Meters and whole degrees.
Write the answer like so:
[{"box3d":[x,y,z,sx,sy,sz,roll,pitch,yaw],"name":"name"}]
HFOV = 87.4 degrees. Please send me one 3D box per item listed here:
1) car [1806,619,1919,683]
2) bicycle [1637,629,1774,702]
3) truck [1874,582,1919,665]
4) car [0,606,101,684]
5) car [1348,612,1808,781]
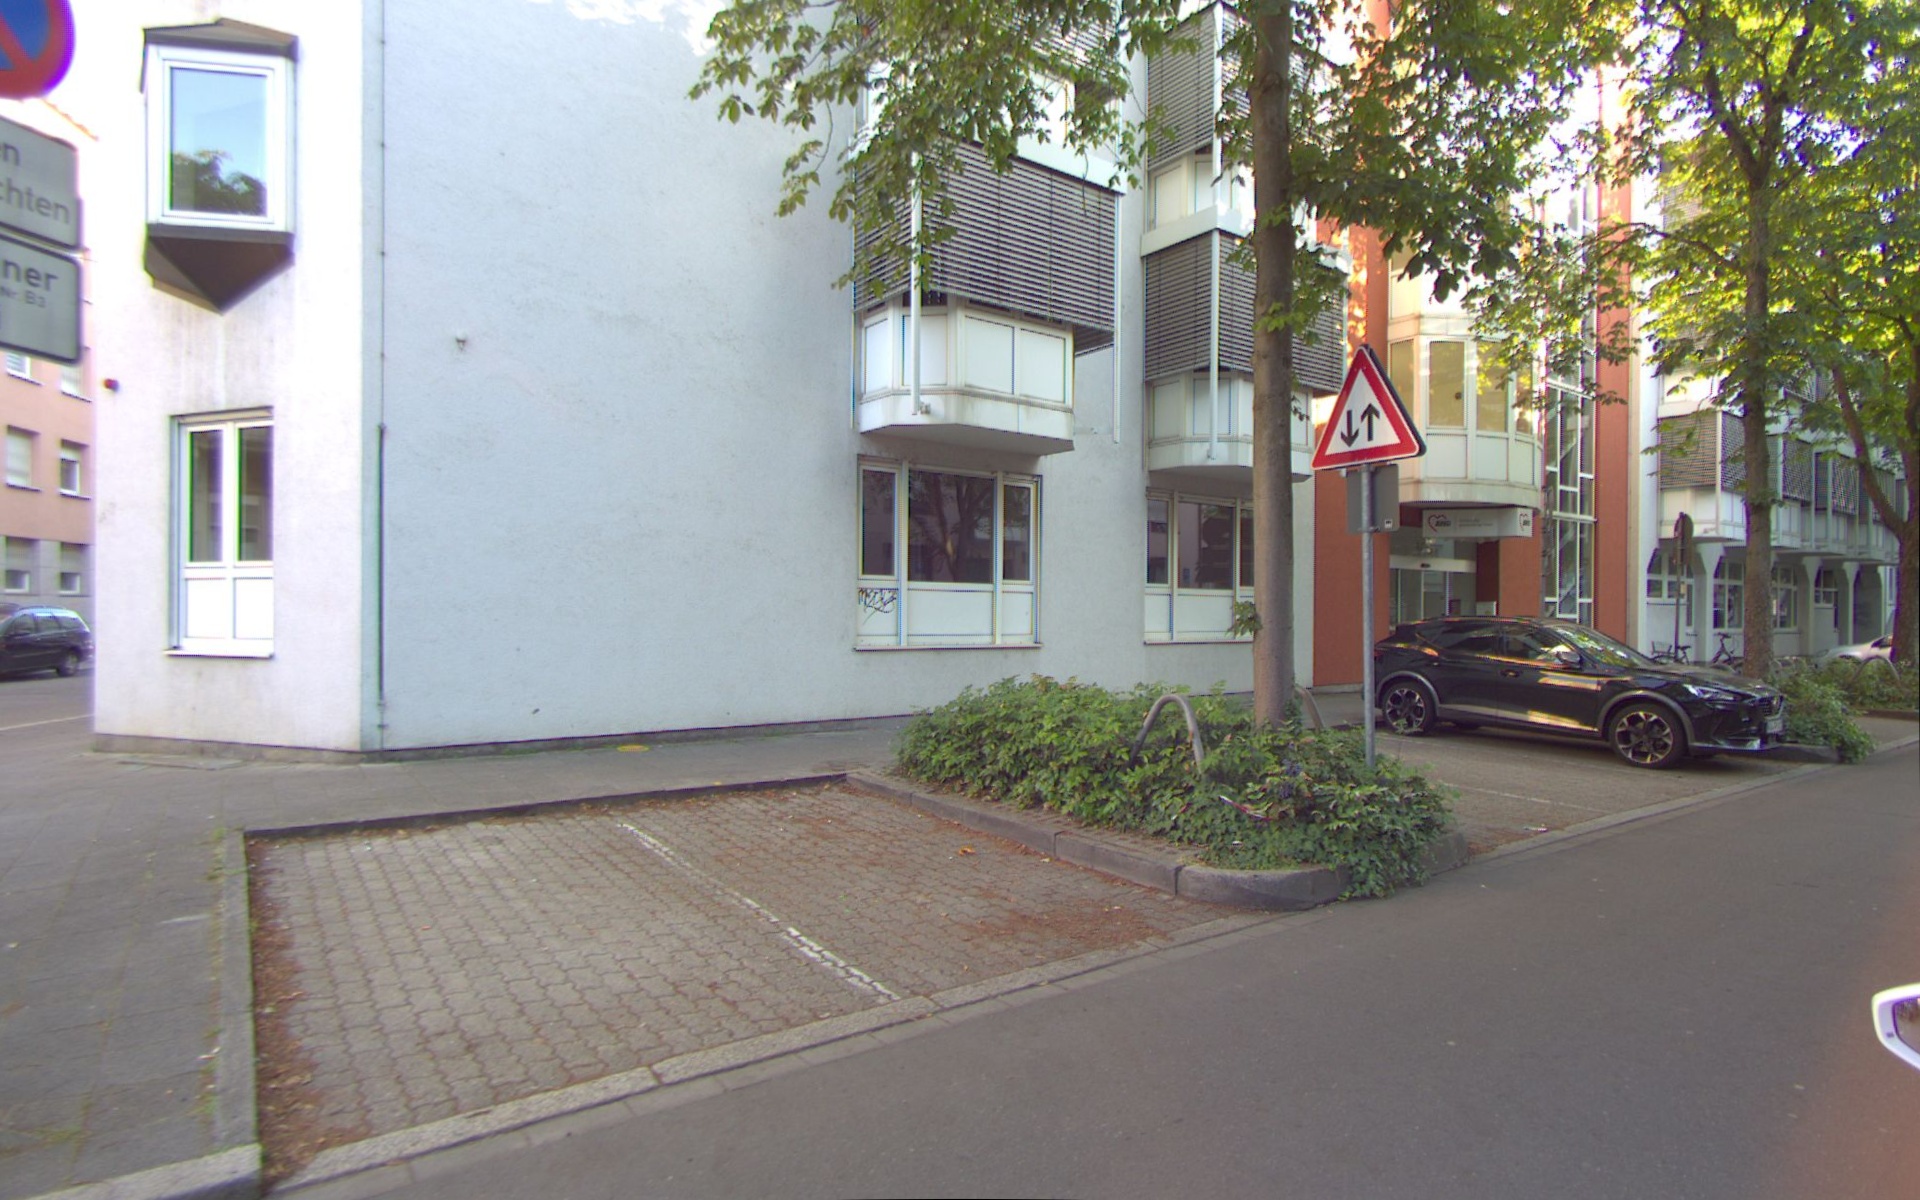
[{"box3d":[23.540,1.257,24.554,1.624,1.491,4.104,1,0,-36],"name":"car"},{"box3d":[13.500,1.161,18.241,1.949,1.215,0.499,0,0,44],"name":"bicycle"},{"box3d":[30.188,0.702,29.265,1.896,2.474,4.967,-1,1,-34],"name":"truck"},{"box3d":[-19.907,0.898,20.638,1.666,1.534,4.272,0,-1,-14],"name":"car"},{"box3d":[7.100,0.967,11.998,1.817,1.529,4.327,1,0,-36],"name":"car"}]
